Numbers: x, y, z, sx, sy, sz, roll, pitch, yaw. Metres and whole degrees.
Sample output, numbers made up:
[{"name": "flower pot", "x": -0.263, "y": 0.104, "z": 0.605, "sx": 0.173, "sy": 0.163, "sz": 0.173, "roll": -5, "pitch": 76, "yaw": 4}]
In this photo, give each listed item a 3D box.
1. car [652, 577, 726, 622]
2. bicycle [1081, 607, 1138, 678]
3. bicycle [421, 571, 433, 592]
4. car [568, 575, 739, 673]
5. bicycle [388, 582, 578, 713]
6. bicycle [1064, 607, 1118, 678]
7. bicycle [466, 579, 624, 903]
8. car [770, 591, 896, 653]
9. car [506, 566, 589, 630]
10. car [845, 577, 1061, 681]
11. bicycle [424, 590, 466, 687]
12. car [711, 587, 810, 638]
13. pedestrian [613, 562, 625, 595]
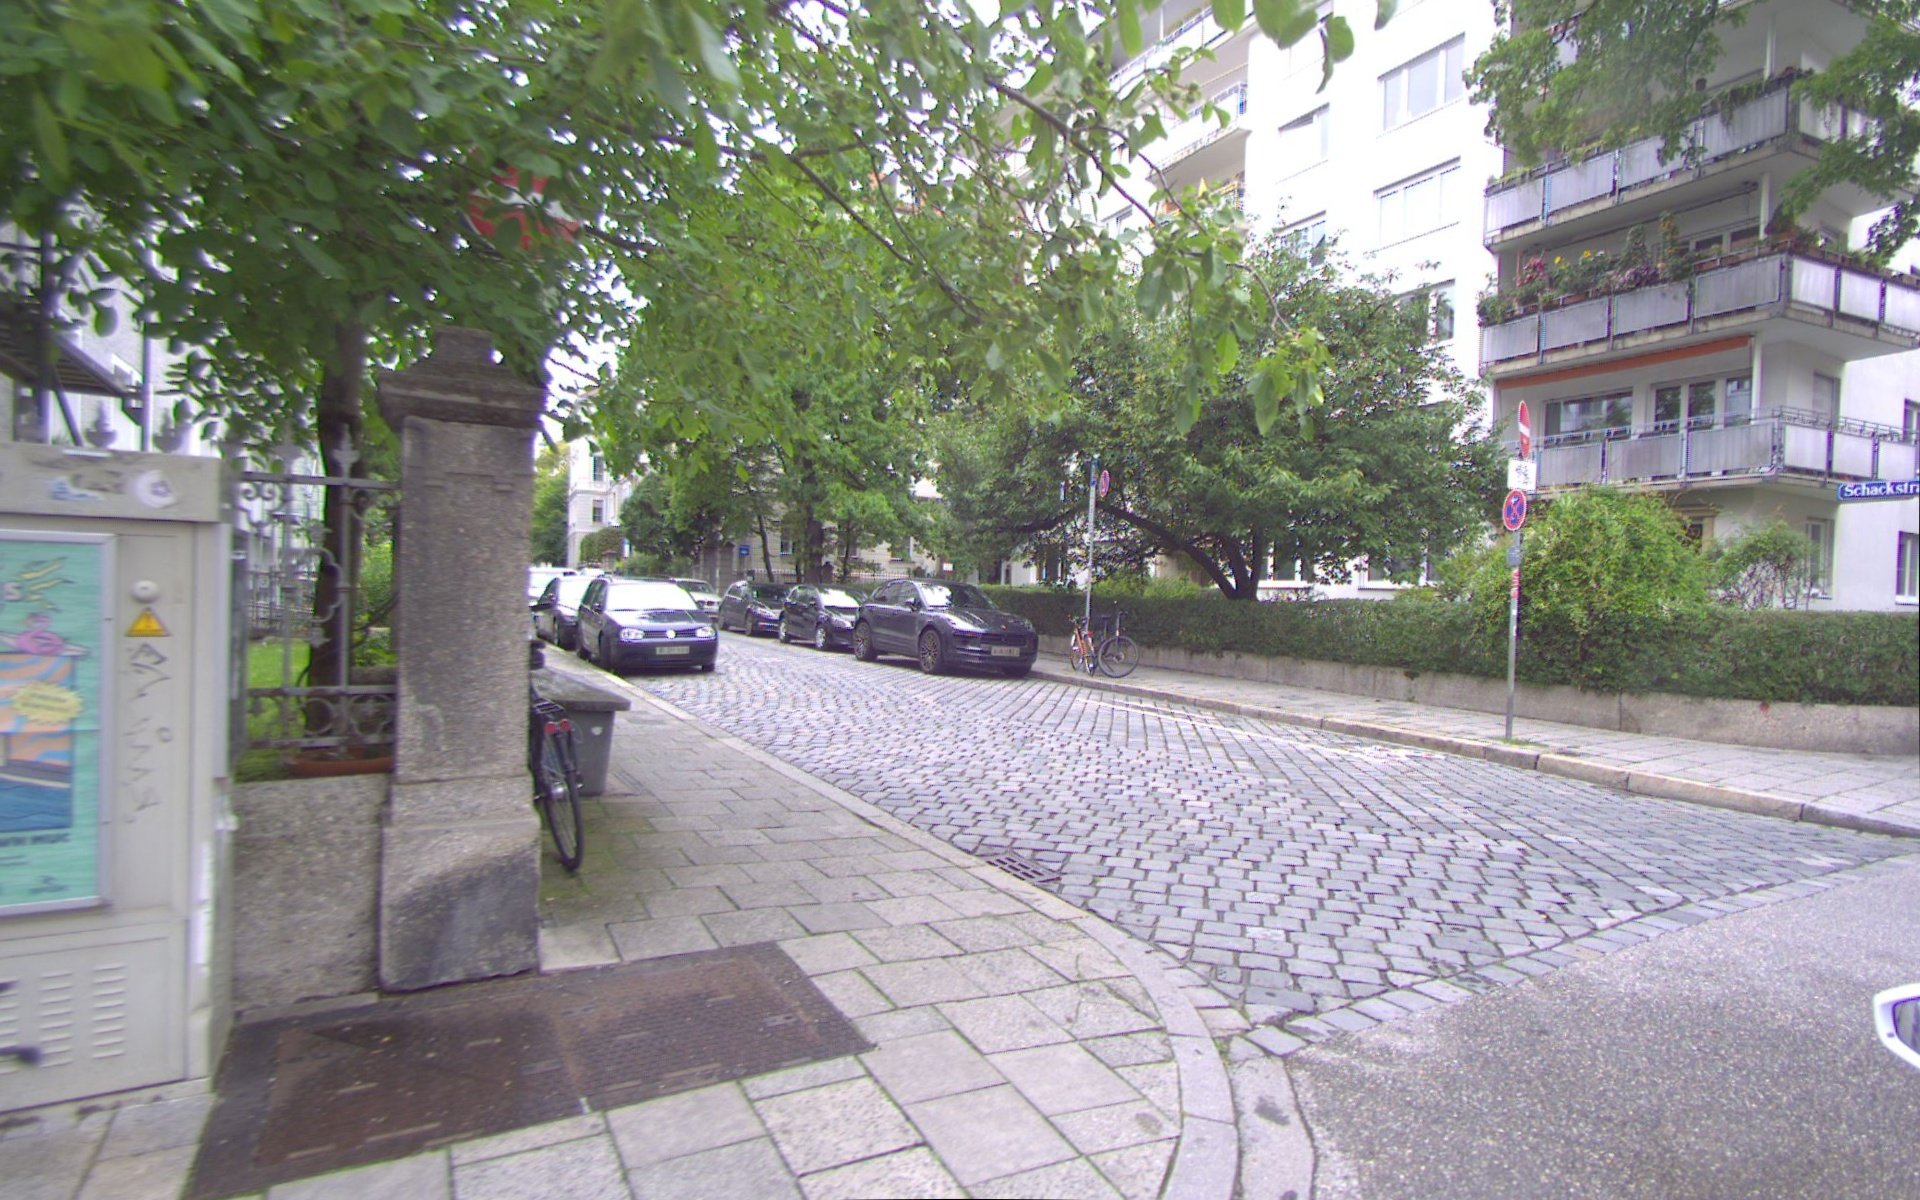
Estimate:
[{"name": "car", "x": -9.306, "y": -0.042, "z": 34.324, "sx": 1.467, "sy": 1.394, "sz": 3.460, "roll": 3, "pitch": 0, "yaw": -32}, {"name": "bicycle", "x": 2.517, "y": 0.692, "z": 17.066, "sx": 0.341, "sy": 1.086, "sz": 1.776, "roll": 3, "pitch": 1, "yaw": -10}, {"name": "bicycle", "x": -30.702, "y": -1.075, "z": 57.839, "sx": 0.571, "sy": 1.198, "sz": 2.503, "roll": 2, "pitch": 1, "yaw": -28}, {"name": "car", "x": -5.131, "y": 0.325, "z": 16.441, "sx": 1.823, "sy": 1.344, "sz": 4.080, "roll": 2, "pitch": 1, "yaw": -30}, {"name": "bicycle", "x": -4.921, "y": 0.423, "z": 10.263, "sx": 0.986, "sy": 1.171, "sz": 2.454, "roll": 1, "pitch": 0, "yaw": -45}, {"name": "bicycle", "x": 2.187, "y": 0.688, "z": 16.944, "sx": 0.341, "sy": 1.086, "sz": 1.776, "roll": 2, "pitch": 1, "yaw": -10}, {"name": "bicycle", "x": -2.064, "y": 0.551, "z": 4.872, "sx": 0.427, "sy": 1.278, "sz": 1.797, "roll": 1, "pitch": 1, "yaw": -31}, {"name": "car", "x": -2.936, "y": 0.464, "z": 22.660, "sx": 1.467, "sy": 1.181, "sz": 3.460, "roll": 3, "pitch": 0, "yaw": -32}, {"name": "car", "x": -11.017, "y": -0.095, "z": 26.702, "sx": 1.569, "sy": 1.542, "sz": 3.630, "roll": 2, "pitch": 1, "yaw": -30}, {"name": "car", "x": -0.269, "y": 0.451, "z": 18.003, "sx": 1.994, "sy": 1.542, "sz": 4.257, "roll": 3, "pitch": 0, "yaw": -30}, {"name": "bicycle", "x": -6.385, "y": 0.443, "z": 12.493, "sx": 0.406, "sy": 1.119, "sz": 1.842, "roll": 1, "pitch": 0, "yaw": -26}, {"name": "car", "x": -5.439, "y": 0.318, "z": 27.089, "sx": 1.467, "sy": 1.181, "sz": 3.460, "roll": 3, "pitch": 0, "yaw": -32}, {"name": "pedestrian", "x": -20.385, "y": -1.282, "z": 60.034, "sx": 0.531, "sy": 1.975, "sz": 0.481, "roll": 1, "pitch": 1, "yaw": -36}]
